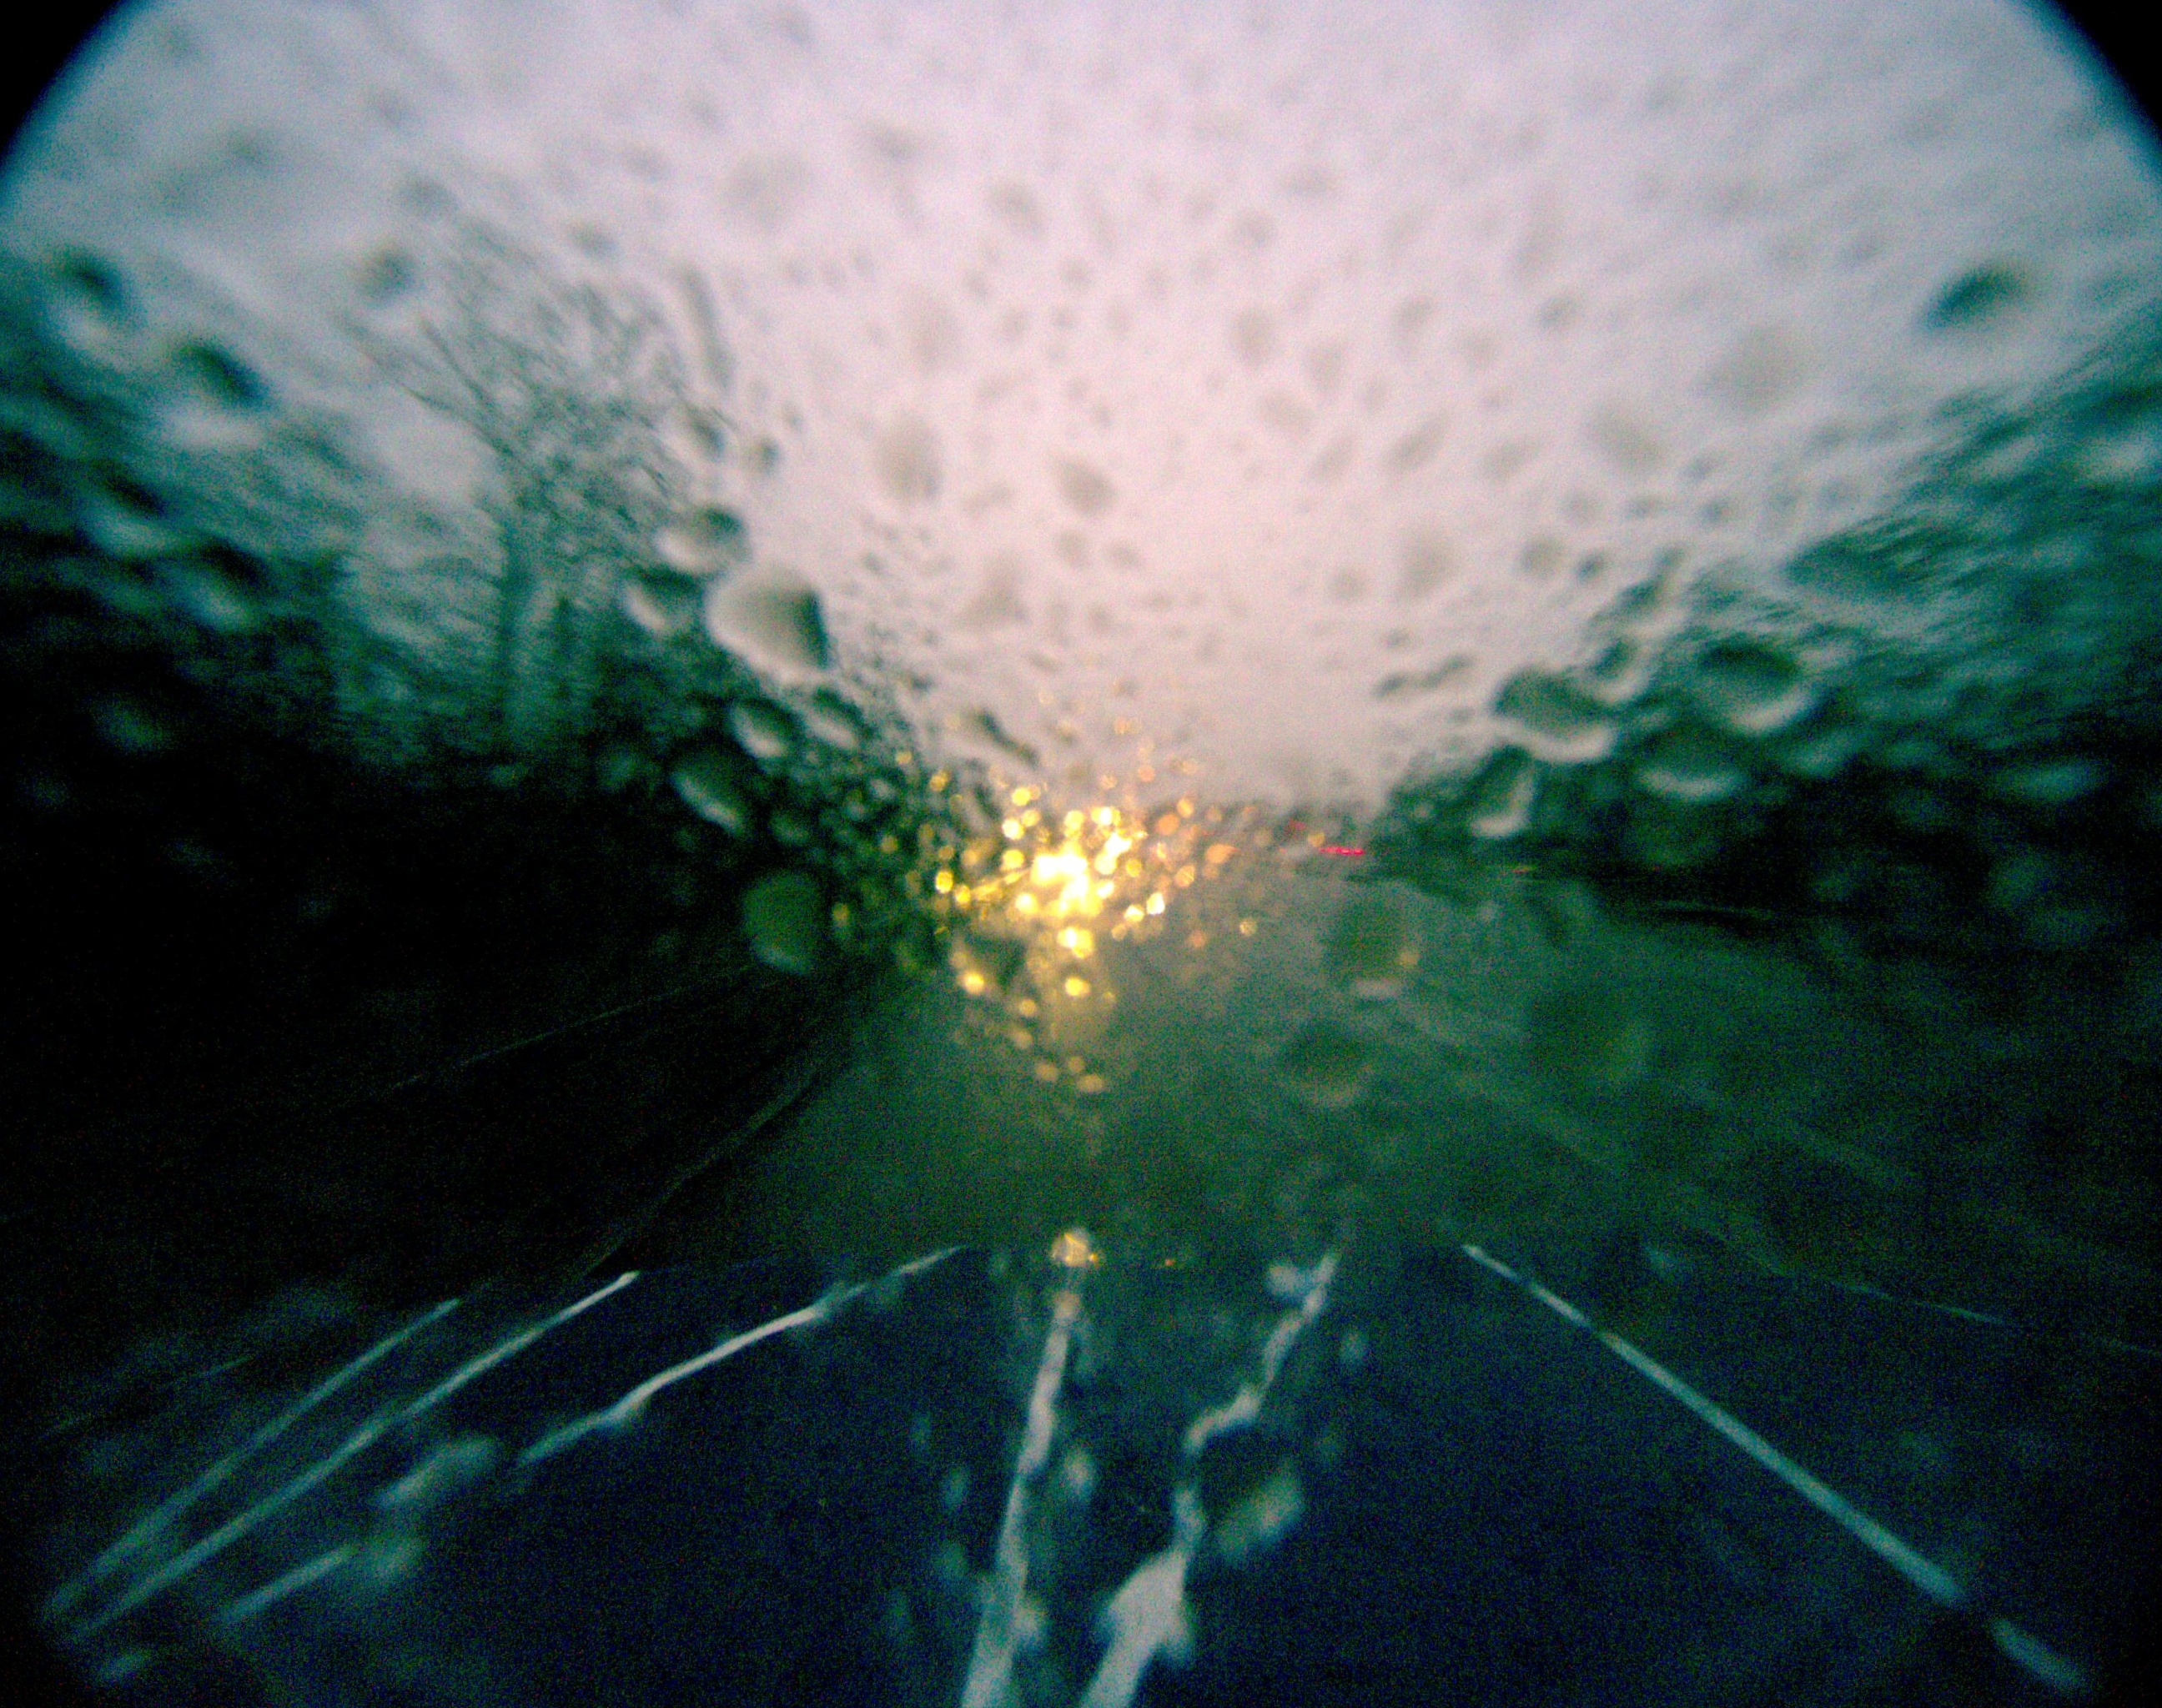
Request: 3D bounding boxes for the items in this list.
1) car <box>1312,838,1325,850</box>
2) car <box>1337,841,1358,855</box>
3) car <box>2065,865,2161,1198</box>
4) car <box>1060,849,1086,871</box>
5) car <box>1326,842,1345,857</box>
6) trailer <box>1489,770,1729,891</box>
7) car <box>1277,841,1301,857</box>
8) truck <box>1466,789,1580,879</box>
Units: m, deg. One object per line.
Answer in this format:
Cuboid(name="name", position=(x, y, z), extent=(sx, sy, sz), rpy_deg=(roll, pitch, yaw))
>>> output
Cuboid(name="car", position=(39.847, -1.695, 127.621), extent=(1.915, 2.002, 4.004), rpy_deg=(-2, 1, 14))
Cuboid(name="car", position=(31.787, -0.738, 90.650), extent=(1.461, 1.556, 3.651), rpy_deg=(-1, 1, 5))
Cuboid(name="car", position=(5.733, 0.832, 1.352), extent=(1.952, 1.511, 4.789), rpy_deg=(0, 1, 5))
Cuboid(name="car", position=(-0.616, 0.434, 58.232), extent=(1.841, 1.553, 3.867), rpy_deg=(-3, 1, -1))
Cuboid(name="car", position=(35.850, -0.668, 107.080), extent=(1.997, 2.002, 4.003), rpy_deg=(-2, 1, 13))
Cuboid(name="trailer", position=(25.428, -1.055, 38.124), extent=(3.497, 4.819, 13.482), rpy_deg=(-3, 1, 5))
Cuboid(name="car", position=(21.690, -0.553, 79.523), extent=(1.704, 1.556, 4.042), rpy_deg=(-2, 1, 5))
Cuboid(name="truck", position=(26.079, -1.158, 45.241), extent=(3.497, 4.819, 6.032), rpy_deg=(-3, 1, 5))
